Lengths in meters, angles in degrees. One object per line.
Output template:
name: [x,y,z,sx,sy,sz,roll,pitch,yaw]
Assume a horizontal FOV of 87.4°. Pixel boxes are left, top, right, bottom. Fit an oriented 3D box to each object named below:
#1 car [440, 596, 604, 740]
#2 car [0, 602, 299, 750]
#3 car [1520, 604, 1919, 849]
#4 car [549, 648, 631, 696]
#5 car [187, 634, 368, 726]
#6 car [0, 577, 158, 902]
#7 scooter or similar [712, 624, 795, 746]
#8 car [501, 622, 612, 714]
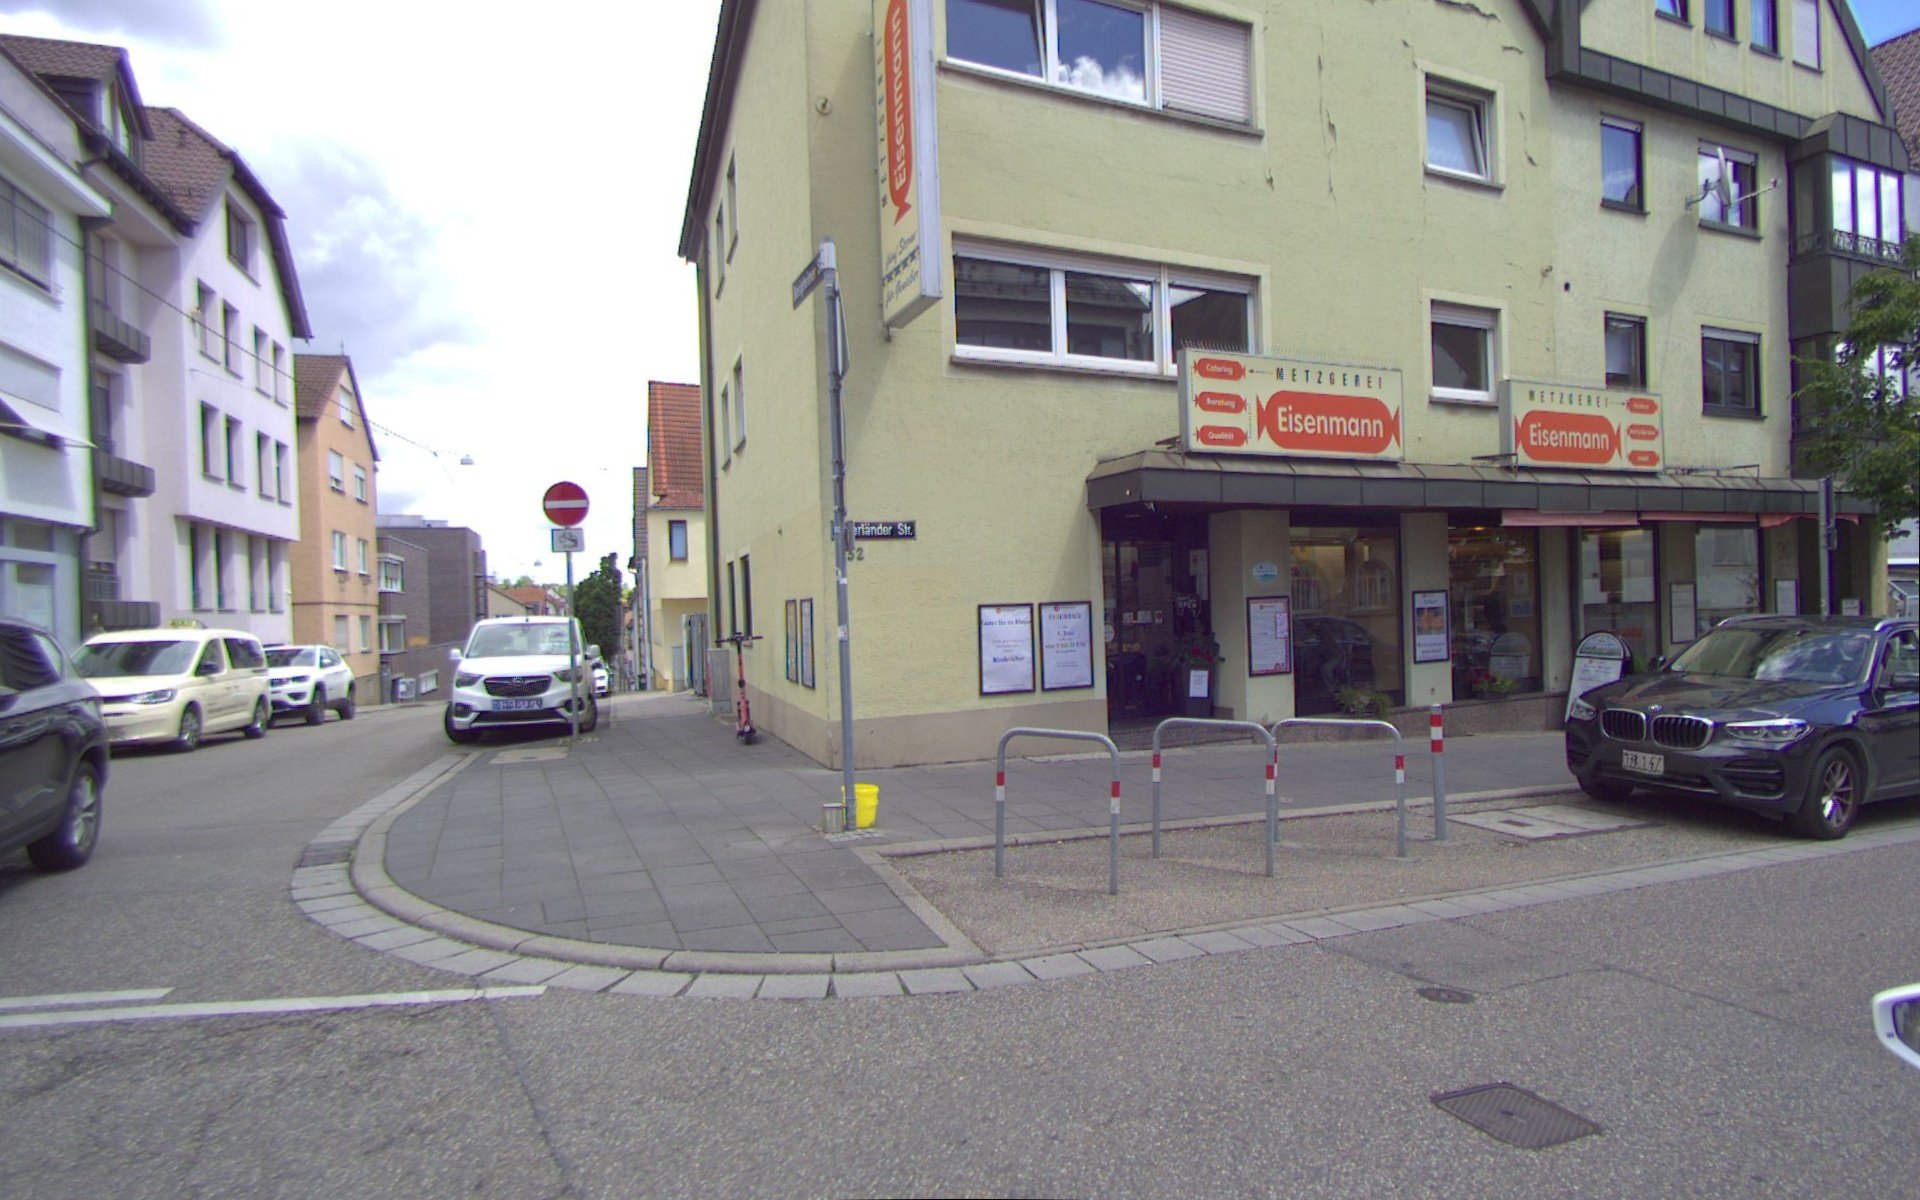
car: [-6.536,1.028,15.427,1.969,1.829,4.336,-2,-3,-20]
car: [-11.810,1.132,15.075,1.838,1.842,4.822,2,-4,-18]
car: [7.455,0.940,9.011,4.545,1.716,2.000,1,0,-26]
car: [-12.758,2.457,34.859,1.826,1.506,4.347,1,-2,-9]
car: [-13.792,1.610,20.613,1.968,1.641,4.080,0,-4,-18]
car: [-5.680,0.669,4.814,1.890,1.589,4.344,2,-2,-26]
scooter or similar: [-2.456,0.963,11.806,0.582,1.298,1.587,-3,-1,-24]
car: [-8.104,1.399,20.498,1.710,1.650,4.338,2,-4,-18]
